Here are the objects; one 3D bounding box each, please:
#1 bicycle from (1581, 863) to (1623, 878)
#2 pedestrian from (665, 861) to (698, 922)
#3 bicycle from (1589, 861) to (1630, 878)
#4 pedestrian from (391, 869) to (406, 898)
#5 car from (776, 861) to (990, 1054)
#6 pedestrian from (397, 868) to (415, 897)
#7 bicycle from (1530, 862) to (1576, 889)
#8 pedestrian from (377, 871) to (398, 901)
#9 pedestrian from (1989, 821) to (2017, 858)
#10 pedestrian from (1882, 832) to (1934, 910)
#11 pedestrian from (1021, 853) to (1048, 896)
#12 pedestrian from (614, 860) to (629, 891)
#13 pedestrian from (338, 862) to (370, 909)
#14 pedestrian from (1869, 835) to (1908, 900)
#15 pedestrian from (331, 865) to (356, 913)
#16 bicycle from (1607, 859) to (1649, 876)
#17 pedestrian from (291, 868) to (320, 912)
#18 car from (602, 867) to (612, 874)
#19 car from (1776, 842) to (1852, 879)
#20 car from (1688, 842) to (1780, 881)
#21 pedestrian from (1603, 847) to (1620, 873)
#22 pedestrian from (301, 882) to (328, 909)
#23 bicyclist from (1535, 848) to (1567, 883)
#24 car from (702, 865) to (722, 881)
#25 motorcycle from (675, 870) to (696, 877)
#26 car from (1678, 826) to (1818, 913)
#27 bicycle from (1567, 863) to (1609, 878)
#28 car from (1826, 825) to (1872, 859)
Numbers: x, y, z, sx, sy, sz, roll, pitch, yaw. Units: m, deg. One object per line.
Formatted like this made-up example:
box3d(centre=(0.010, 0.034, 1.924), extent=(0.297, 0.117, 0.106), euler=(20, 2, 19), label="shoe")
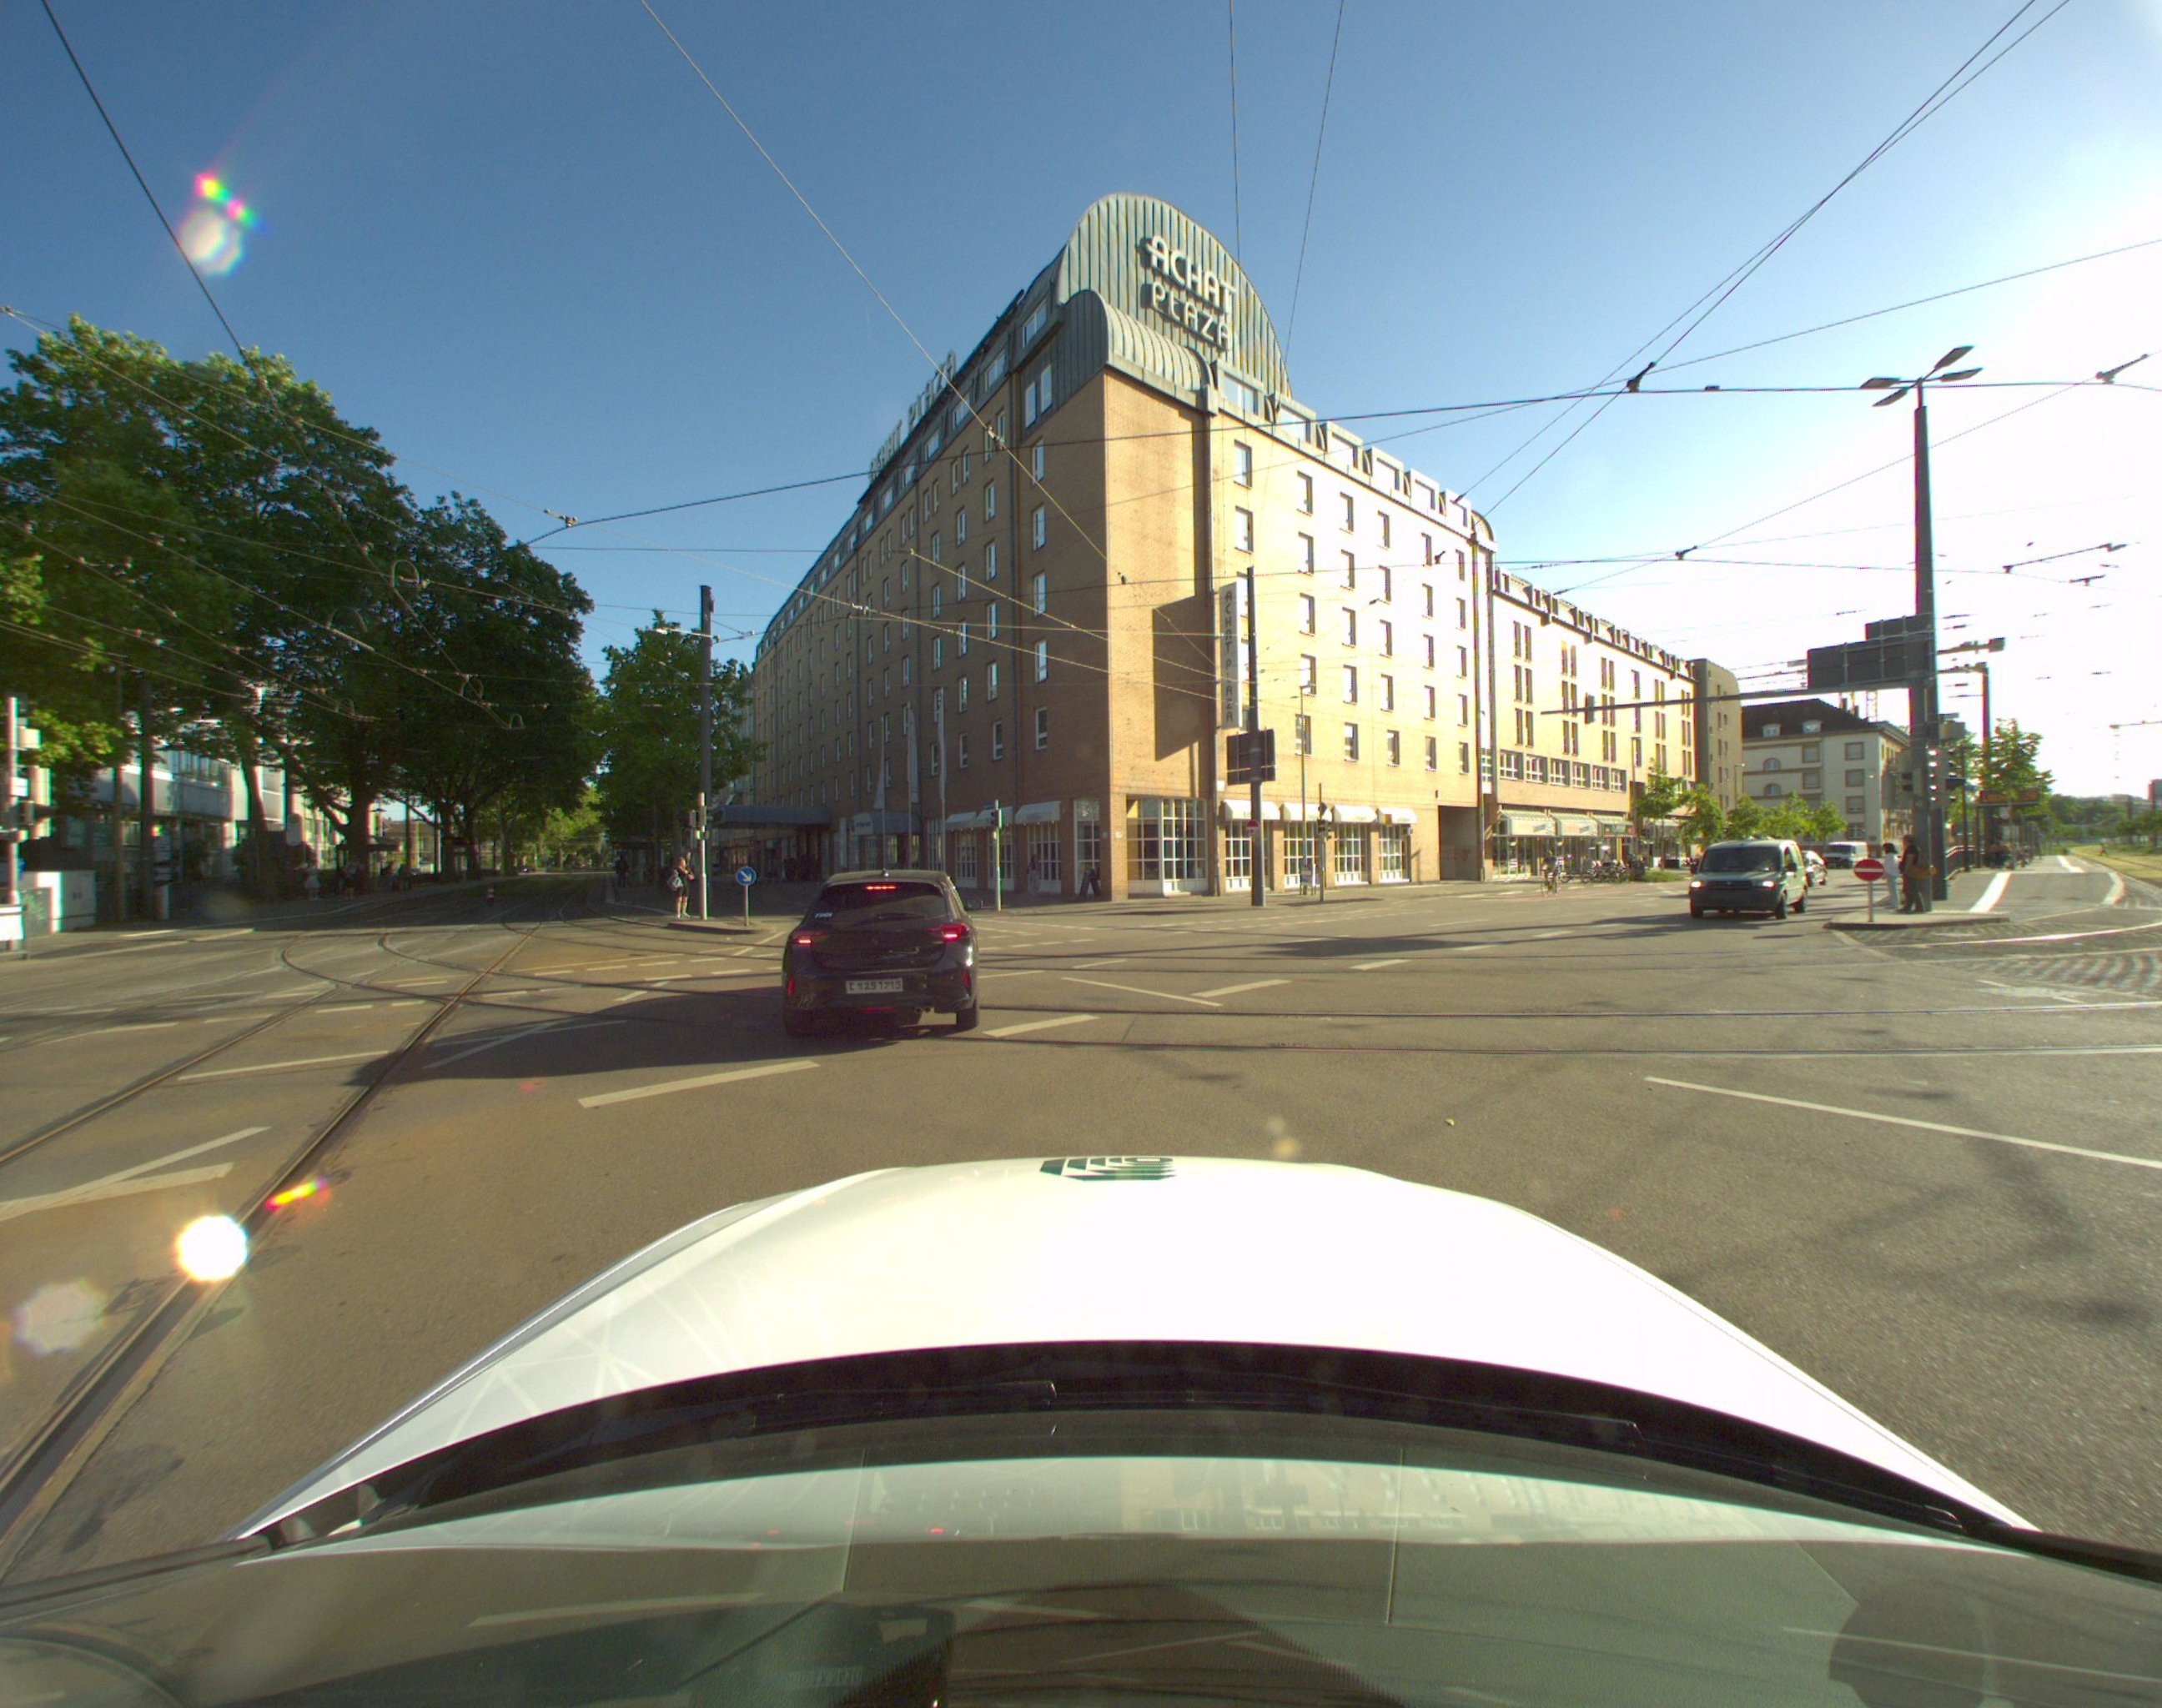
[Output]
box3d(centre=(29.876, 0.969, 46.705), extent=(0.484, 0.845, 2.021), euler=(-1, -1, -28), label="bicycle")
box3d(centre=(-11.456, 1.071, 23.363), extent=(0.717, 1.680, 0.825), euler=(-3, 0, -22), label="pedestrian")
box3d(centre=(30.901, 0.905, 47.619), extent=(0.484, 0.921, 2.021), euler=(-1, -1, -28), label="bicycle")
box3d(centre=(-37.498, 1.614, 44.743), extent=(0.504, 1.573, 0.490), euler=(-1, 1, -27), label="pedestrian")
box3d(centre=(-1.943, 0.841, 8.482), extent=(1.672, 1.502, 3.676), euler=(-1, 0, -11), label="car")
box3d(centre=(-37.639, 1.590, 45.428), extent=(0.565, 1.573, 0.635), euler=(-1, 1, -19), label="pedestrian")
box3d(centre=(19.105, 0.874, 32.938), extent=(2.522, 0.991, 0.803), euler=(-1, -1, -41), label="bicycle")
box3d(centre=(-36.396, 1.676, 42.733), extent=(0.481, 1.573, 0.674), euler=(0, 1, 12), label="pedestrian")
box3d(centre=(48.074, -0.765, 42.452), extent=(0.852, 1.886, 0.742), euler=(-1, 1, 41), label="pedestrian")
box3d(centre=(18.726, 0.376, 18.443), extent=(0.597, 1.727, 0.715), euler=(-1, -1, -38), label="pedestrian")
box3d(centre=(-1.847, 0.817, 32.356), extent=(0.743, 1.666, 0.746), euler=(-2, 0, -31), label="pedestrian")
box3d(centre=(-24.933, 1.168, 44.164), extent=(0.608, 1.680, 0.481), euler=(-3, 0, -31), label="pedestrian")
box3d(centre=(-29.258, 1.250, 32.765), extent=(0.588, 1.829, 0.745), euler=(-1, -1, 1), label="pedestrian")
box3d(centre=(19.934, 0.335, 20.112), extent=(0.575, 1.577, 0.651), euler=(-2, -1, 38), label="pedestrian")
box3d(centre=(-28.926, 1.358, 31.962), extent=(0.639, 1.829, 0.736), euler=(-1, -1, -36), label="pedestrian")
box3d(centre=(32.158, 0.795, 47.897), extent=(0.484, 0.921, 2.021), euler=(-1, -1, -28), label="bicycle")
box3d(centre=(-32.251, 1.498, 33.882), extent=(0.592, 1.800, 0.741), euler=(-1, -1, -15), label="pedestrian")
box3d(centre=(-95.322, 3.322, 163.820), extent=(1.624, 1.502, 3.653), euler=(-1, 0, -31), label="car")
box3d(centre=(31.809, 0.263, 35.318), extent=(4.321, 1.448, 1.823), euler=(-1, -2, -41), label="car")
box3d(centre=(23.833, 0.271, 29.672), extent=(4.252, 1.268, 1.823), euler=(-1, -2, -41), label="car")
box3d(centre=(35.954, 0.403, 55.214), extent=(0.568, 1.764, 0.711), euler=(-1, -2, -36), label="pedestrian")
box3d(centre=(-34.518, 1.876, 36.687), extent=(0.592, 1.164, 0.741), euler=(-1, -1, -15), label="pedestrian")
box3d(centre=(18.937, 0.474, 32.814), extent=(0.930, 1.377, 0.803), euler=(-1, -1, -40), label="bicyclist")
box3d(centre=(-41.770, 2.123, 92.189), extent=(1.682, 1.652, 3.655), euler=(-1, 0, -30), label="car")
box3d(centre=(-58.897, 2.883, 121.156), extent=(3.058, 1.058, 1.317), euler=(-1, 0, 29), label="motorcycle")
box3d(centre=(15.730, 0.351, 19.127), extent=(4.129, 1.836, 1.823), euler=(-1, -3, -41), label="car")
box3d(centre=(28.522, 0.927, 45.856), extent=(0.484, 0.845, 2.021), euler=(-1, -1, -28), label="bicycle")
box3d(centre=(71.336, -1.159, 75.580), extent=(8.517, 2.998, 2.356), euler=(-2, 0, -42), label="car")
